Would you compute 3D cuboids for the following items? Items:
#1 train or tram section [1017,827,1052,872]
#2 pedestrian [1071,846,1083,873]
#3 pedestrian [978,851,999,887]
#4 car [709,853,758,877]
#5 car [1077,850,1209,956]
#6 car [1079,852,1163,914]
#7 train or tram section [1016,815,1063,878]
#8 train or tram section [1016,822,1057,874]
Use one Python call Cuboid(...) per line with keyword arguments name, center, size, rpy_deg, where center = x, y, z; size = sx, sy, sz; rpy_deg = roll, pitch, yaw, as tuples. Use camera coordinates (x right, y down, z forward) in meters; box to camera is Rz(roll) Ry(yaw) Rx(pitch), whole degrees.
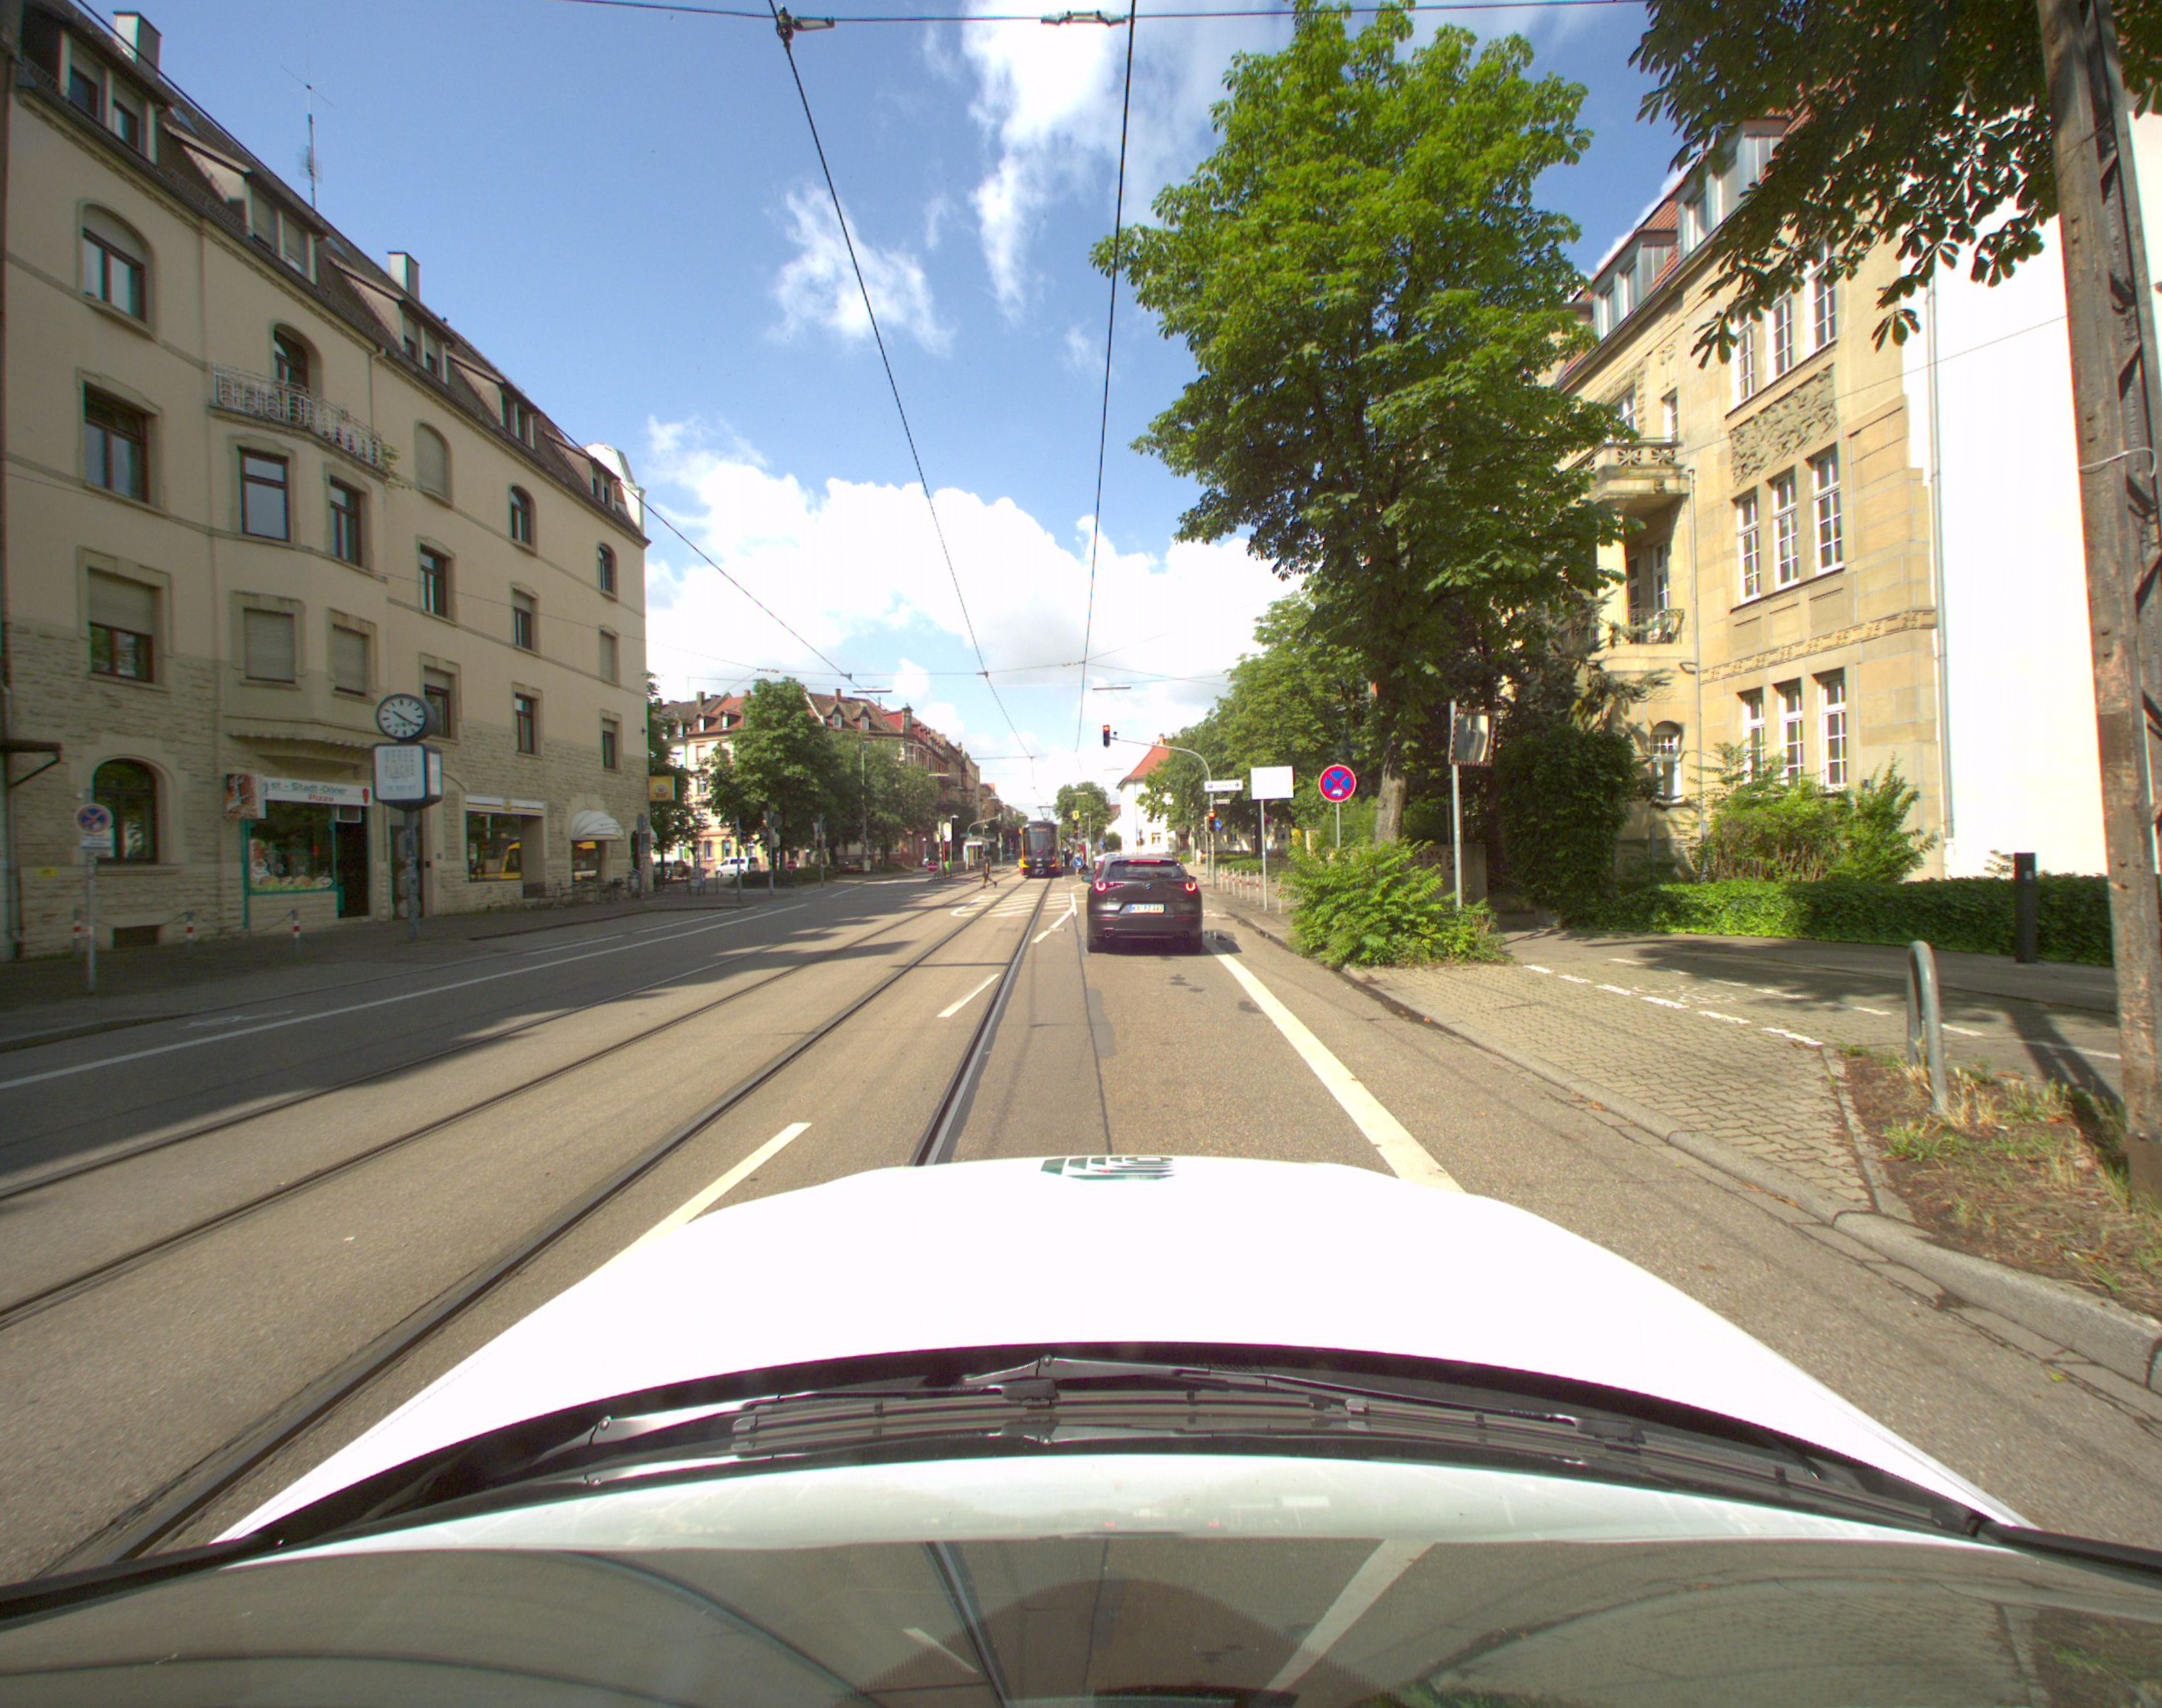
Cuboid(name="train or tram section", center=(-4.027, -0.334, 68.952), size=(2.647, 3.527, 8.483), rpy_deg=(-3, 0, -4))
Cuboid(name="pedestrian", center=(-0.228, 0.328, 50.139), size=(0.666, 1.605, 0.699), rpy_deg=(-2, 0, -3))
Cuboid(name="pedestrian", center=(-4.177, 0.667, 36.890), size=(0.873, 1.605, 0.631), rpy_deg=(-2, 0, -4))
Cuboid(name="car", center=(-36.174, 1.135, 84.758), size=(4.097, 2.013, 2.005), rpy_deg=(-5, 0, 8))
Cuboid(name="car", center=(0.903, 0.709, 14.127), size=(1.785, 1.512, 4.347), rpy_deg=(-1, 0, -3))
Cuboid(name="car", center=(1.013, 0.728, 23.136), size=(1.781, 1.492, 4.876), rpy_deg=(-2, 0, -4))
Cuboid(name="train or tram section", center=(-2.754, -0.421, 51.989), size=(2.647, 3.527, 8.483), rpy_deg=(-3, 0, -4))
Cuboid(name="train or tram section", center=(-3.393, -0.387, 60.461), size=(2.647, 3.527, 8.483), rpy_deg=(-3, 0, -4))
